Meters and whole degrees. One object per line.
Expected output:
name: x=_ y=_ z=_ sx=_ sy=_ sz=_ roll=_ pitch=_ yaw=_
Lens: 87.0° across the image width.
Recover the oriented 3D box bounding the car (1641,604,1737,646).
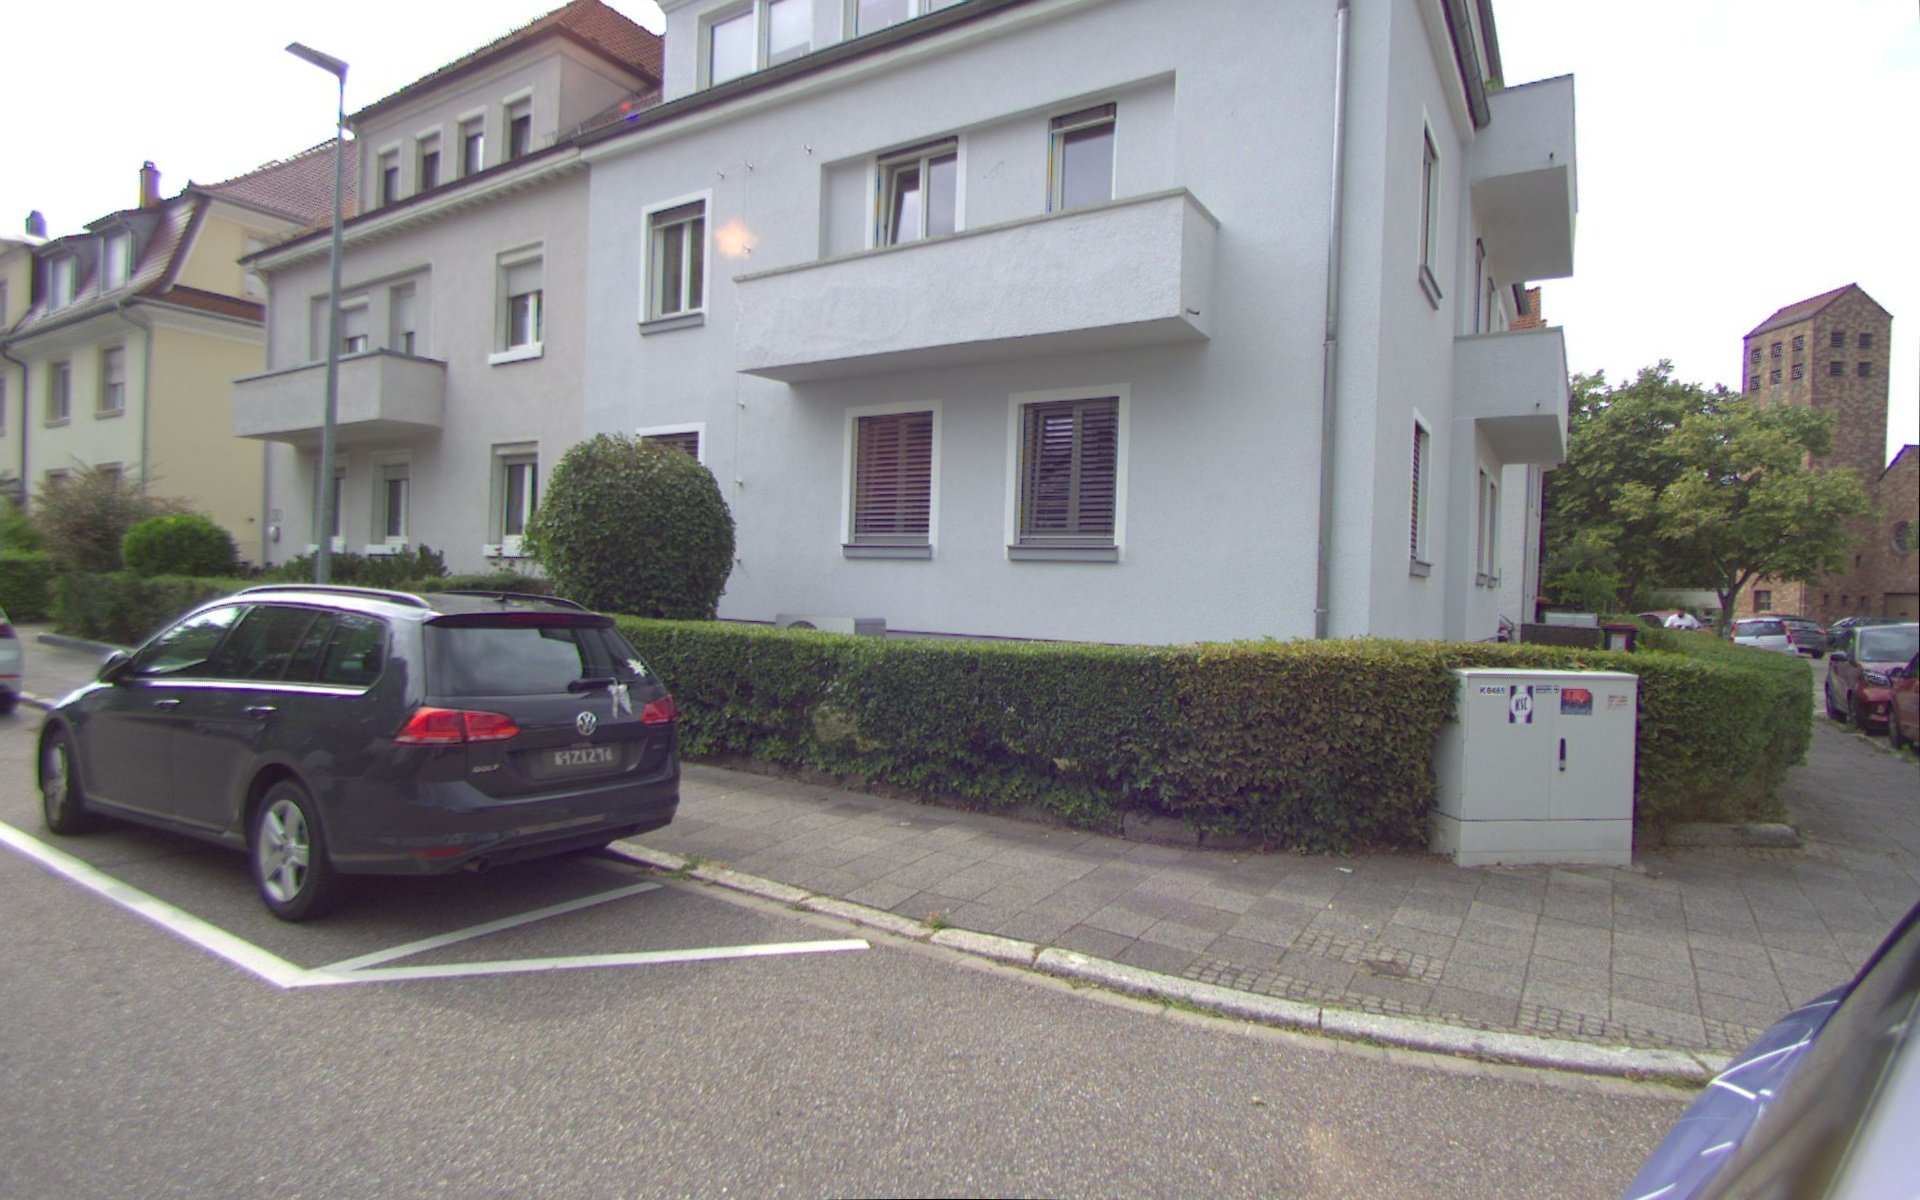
car: x=27.859 y=0.941 z=38.815 sx=1.625 sy=1.515 sz=3.469 roll=-1 pitch=-1 yaw=11

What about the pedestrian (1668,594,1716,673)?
pedestrian: x=18.329 y=0.816 z=25.372 sx=0.878 sy=1.902 sz=1.066 roll=2 pitch=1 yaw=33

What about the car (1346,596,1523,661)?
car: x=12.551 y=0.701 z=26.810 sx=3.973 sy=1.482 sz=1.976 roll=2 pitch=1 yaw=34

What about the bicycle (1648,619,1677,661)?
bicycle: x=20.109 y=1.120 z=29.004 sx=0.419 sy=1.117 sz=2.094 roll=2 pitch=1 yaw=28

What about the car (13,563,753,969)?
car: x=-3.380 y=0.603 z=5.762 sx=4.141 sy=1.490 sz=1.840 roll=2 pitch=1 yaw=30

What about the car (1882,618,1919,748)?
car: x=11.956 y=0.981 z=11.411 sx=1.638 sy=1.515 sz=3.441 roll=-2 pitch=-1 yaw=32

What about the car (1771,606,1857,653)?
car: x=31.304 y=1.054 z=37.200 sx=1.841 sy=1.500 sz=3.993 roll=-5 pitch=-3 yaw=33

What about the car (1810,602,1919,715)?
car: x=14.124 y=0.803 z=15.121 sx=1.638 sy=1.515 sz=3.441 roll=-2 pitch=-1 yaw=32

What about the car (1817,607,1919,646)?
car: x=40.715 y=1.162 z=44.646 sx=4.197 sy=1.482 sz=1.665 roll=3 pitch=3 yaw=33

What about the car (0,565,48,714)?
car: x=-11.674 y=0.331 z=10.928 sx=4.148 sy=1.490 sz=1.836 roll=3 pitch=1 yaw=35

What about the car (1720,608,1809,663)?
car: x=24.073 y=1.025 z=30.376 sx=1.638 sy=1.515 sz=3.441 roll=-2 pitch=-1 yaw=32
